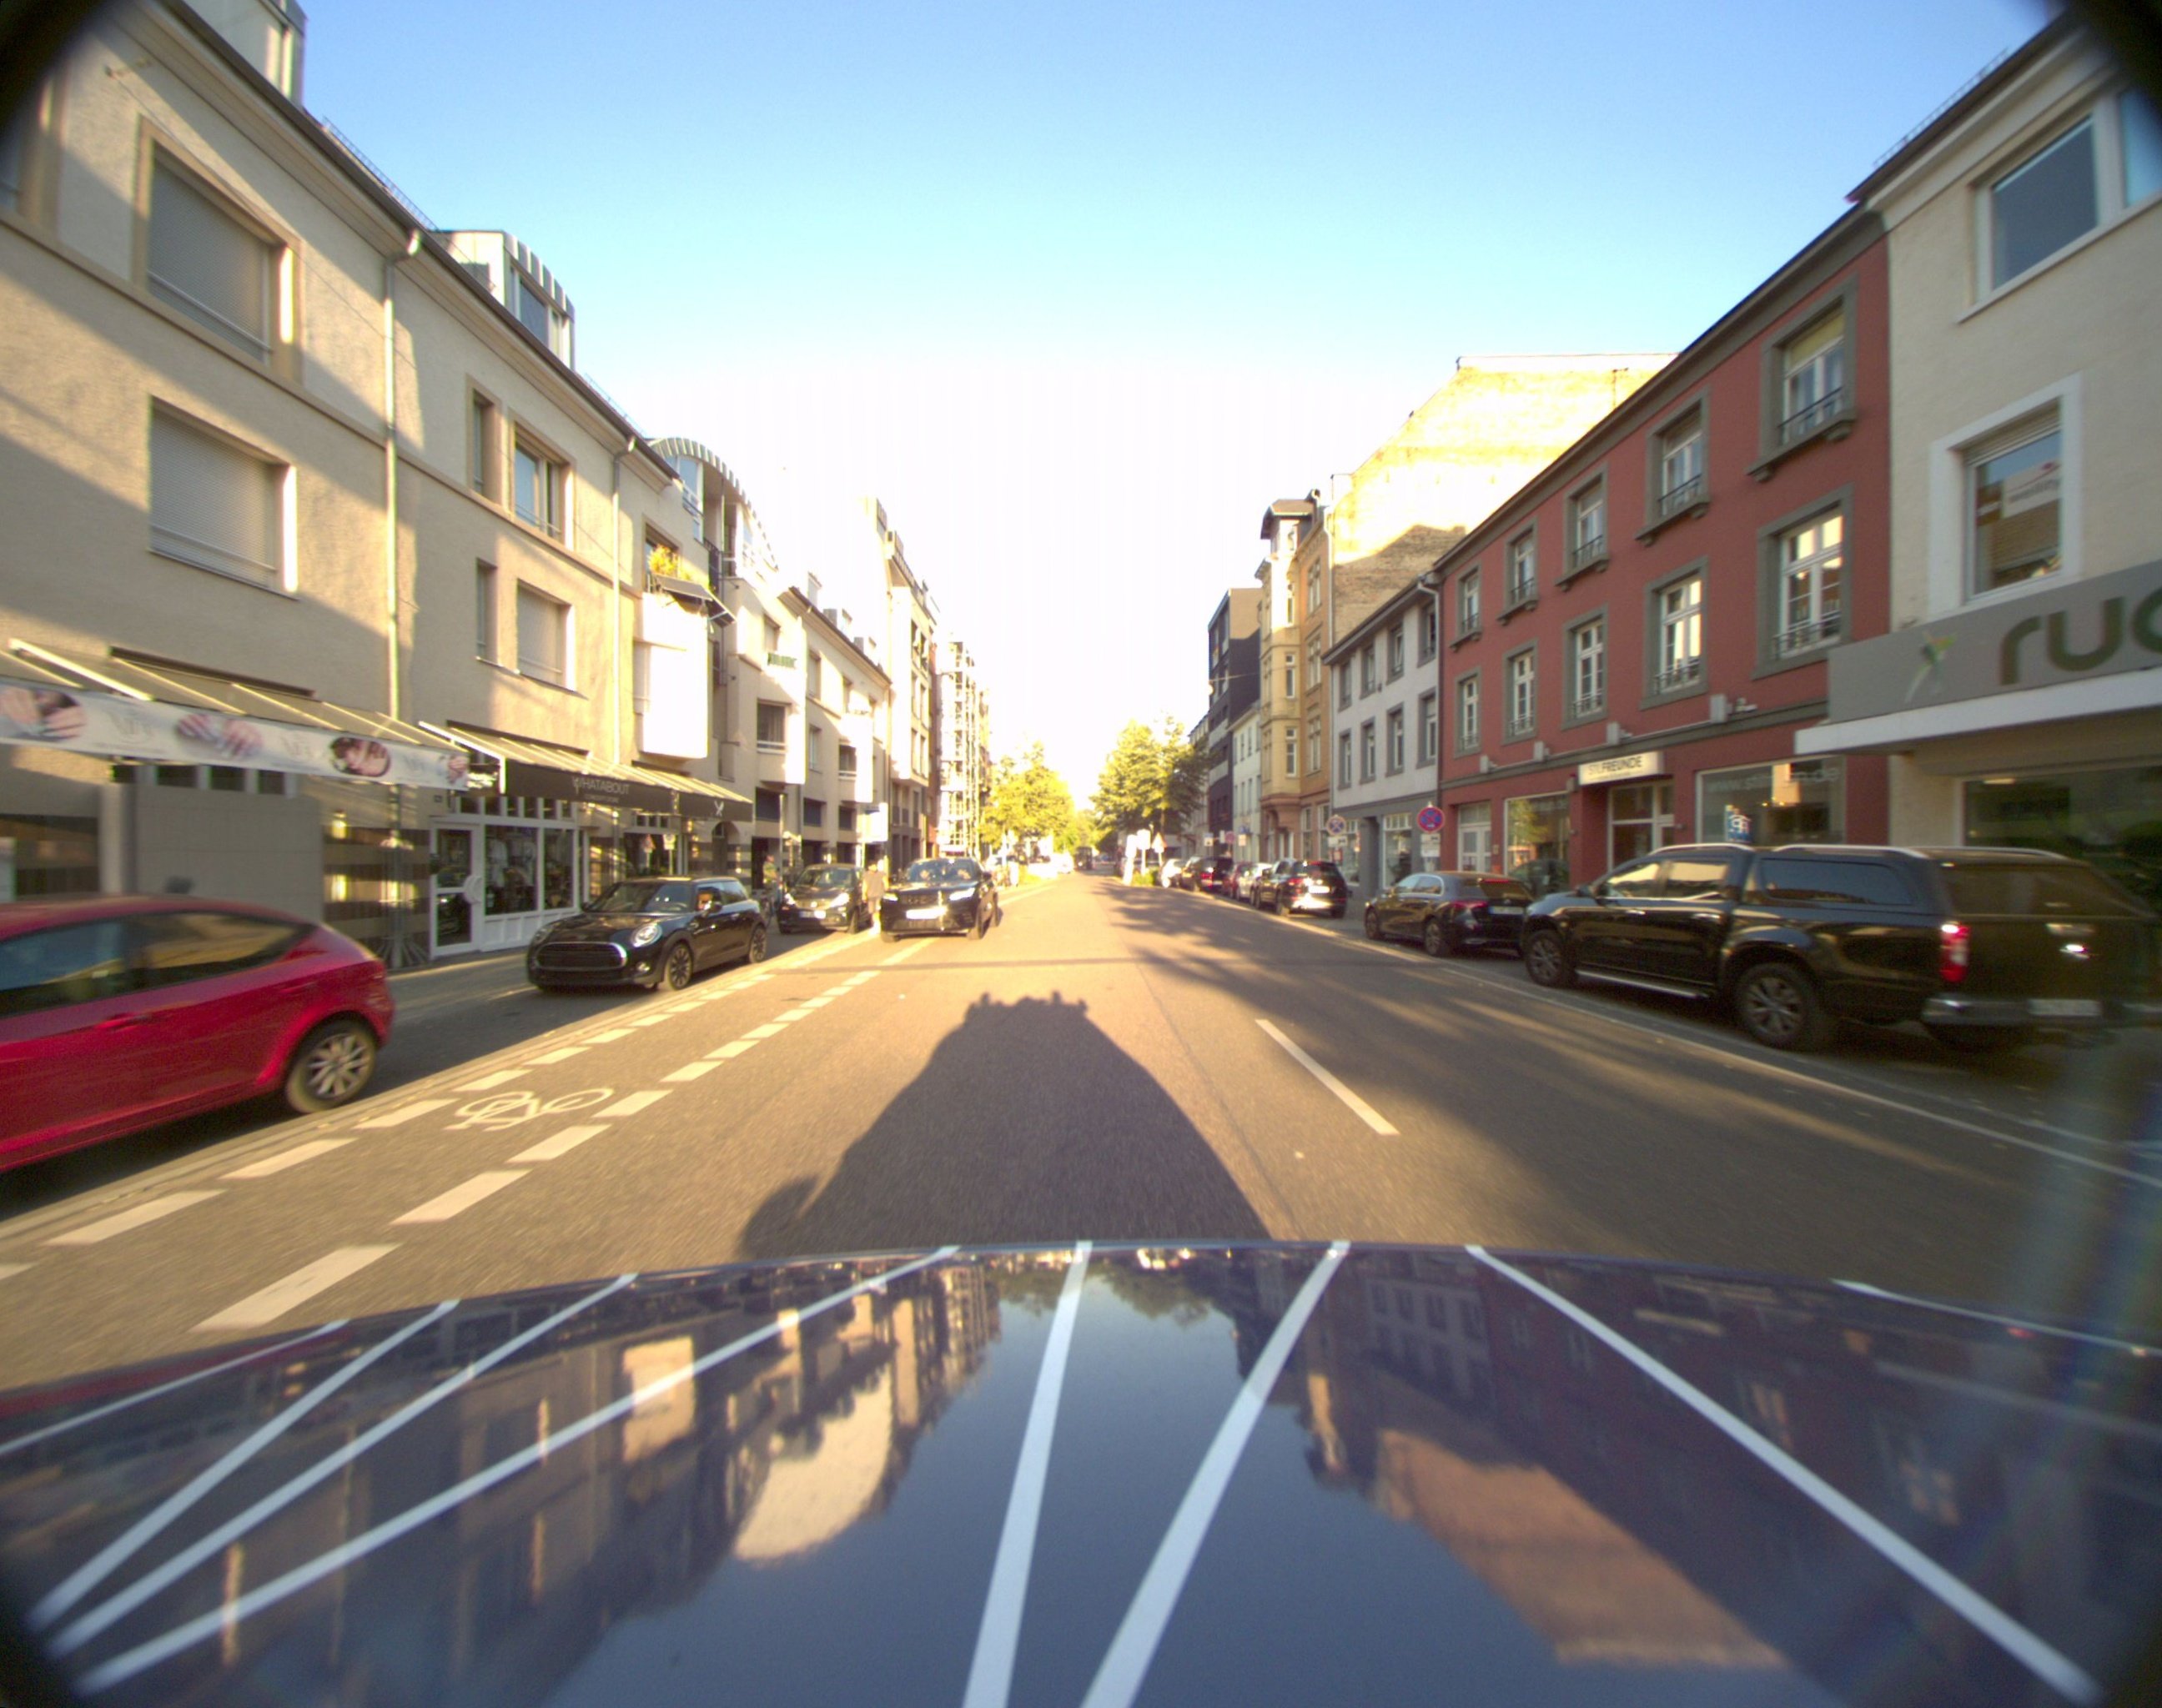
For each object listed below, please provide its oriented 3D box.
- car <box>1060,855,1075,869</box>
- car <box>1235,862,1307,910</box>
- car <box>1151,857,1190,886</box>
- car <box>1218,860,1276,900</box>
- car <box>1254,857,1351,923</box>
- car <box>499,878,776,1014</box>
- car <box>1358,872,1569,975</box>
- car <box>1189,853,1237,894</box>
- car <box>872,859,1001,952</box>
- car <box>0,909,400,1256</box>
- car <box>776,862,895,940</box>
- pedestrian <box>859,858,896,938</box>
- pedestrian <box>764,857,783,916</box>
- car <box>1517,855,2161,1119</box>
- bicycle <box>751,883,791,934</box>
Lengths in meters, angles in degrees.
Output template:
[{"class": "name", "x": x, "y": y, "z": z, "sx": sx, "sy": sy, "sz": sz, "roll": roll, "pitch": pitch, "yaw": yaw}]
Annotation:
[{"class": "car", "x": -1.577, "y": 0.905, "z": 88.753, "sx": 1.622, "sy": 1.465, "sz": 3.688, "roll": -2, "pitch": 0, "yaw": 0}, {"class": "car", "x": 6.671, "y": 1.082, "z": 27.026, "sx": 1.689, "sy": 1.461, "sz": 3.691, "roll": 2, "pitch": 0, "yaw": 2}, {"class": "car", "x": 4.983, "y": 0.942, "z": 42.717, "sx": 1.673, "sy": 1.512, "sz": 3.564, "roll": 1, "pitch": 0, "yaw": -1}, {"class": "car", "x": 6.848, "y": 1.039, "z": 31.614, "sx": 1.673, "sy": 1.449, "sz": 3.565, "roll": 2, "pitch": 0, "yaw": 2}, {"class": "car", "x": 6.432, "y": 0.976, "z": 22.516, "sx": 1.724, "sy": 1.674, "sz": 4.050, "roll": 2, "pitch": 0, "yaw": 2}, {"class": "car", "x": -5.860, "y": 1.115, "z": 10.660, "sx": 1.621, "sy": 1.425, "sz": 3.925, "roll": 0, "pitch": 0, "yaw": -1}, {"class": "car", "x": 6.654, "y": 1.123, "z": 13.776, "sx": 1.705, "sy": 1.429, "sz": 4.014, "roll": 2, "pitch": 0, "yaw": -1}, {"class": "car", "x": 6.113, "y": 0.856, "z": 35.580, "sx": 1.673, "sy": 1.764, "sz": 3.565, "roll": 2, "pitch": 0, "yaw": 2}, {"class": "car", "x": -2.870, "y": 0.961, "z": 16.096, "sx": 1.890, "sy": 1.626, "sz": 4.227, "roll": -2, "pitch": 0, "yaw": 0}, {"class": "car", "x": -5.776, "y": 1.133, "z": 3.604, "sx": 1.593, "sy": 1.425, "sz": 3.925, "roll": 1, "pitch": 0, "yaw": -1}, {"class": "car", "x": -5.712, "y": 1.026, "z": 18.175, "sx": 1.621, "sy": 1.583, "sz": 3.925, "roll": 0, "pitch": 0, "yaw": -1}, {"class": "pedestrian", "x": -4.515, "y": 0.966, "z": 16.872, "sx": 0.631, "sy": 1.739, "sz": 0.670, "roll": 0, "pitch": 1, "yaw": -1}, {"class": "pedestrian", "x": -9.507, "y": 0.981, "z": 23.493, "sx": 0.450, "sy": 1.789, "sz": 0.575, "roll": -2, "pitch": 1, "yaw": -19}, {"class": "car", "x": 6.748, "y": 0.918, "z": 7.640, "sx": 1.725, "sy": 1.769, "sz": 4.938, "roll": 1, "pitch": 0, "yaw": -2}, {"class": "bicycle", "x": -7.353, "y": 1.273, "z": 18.061, "sx": 0.296, "sy": 1.079, "sz": 1.463, "roll": -1, "pitch": 1, "yaw": 1}]
